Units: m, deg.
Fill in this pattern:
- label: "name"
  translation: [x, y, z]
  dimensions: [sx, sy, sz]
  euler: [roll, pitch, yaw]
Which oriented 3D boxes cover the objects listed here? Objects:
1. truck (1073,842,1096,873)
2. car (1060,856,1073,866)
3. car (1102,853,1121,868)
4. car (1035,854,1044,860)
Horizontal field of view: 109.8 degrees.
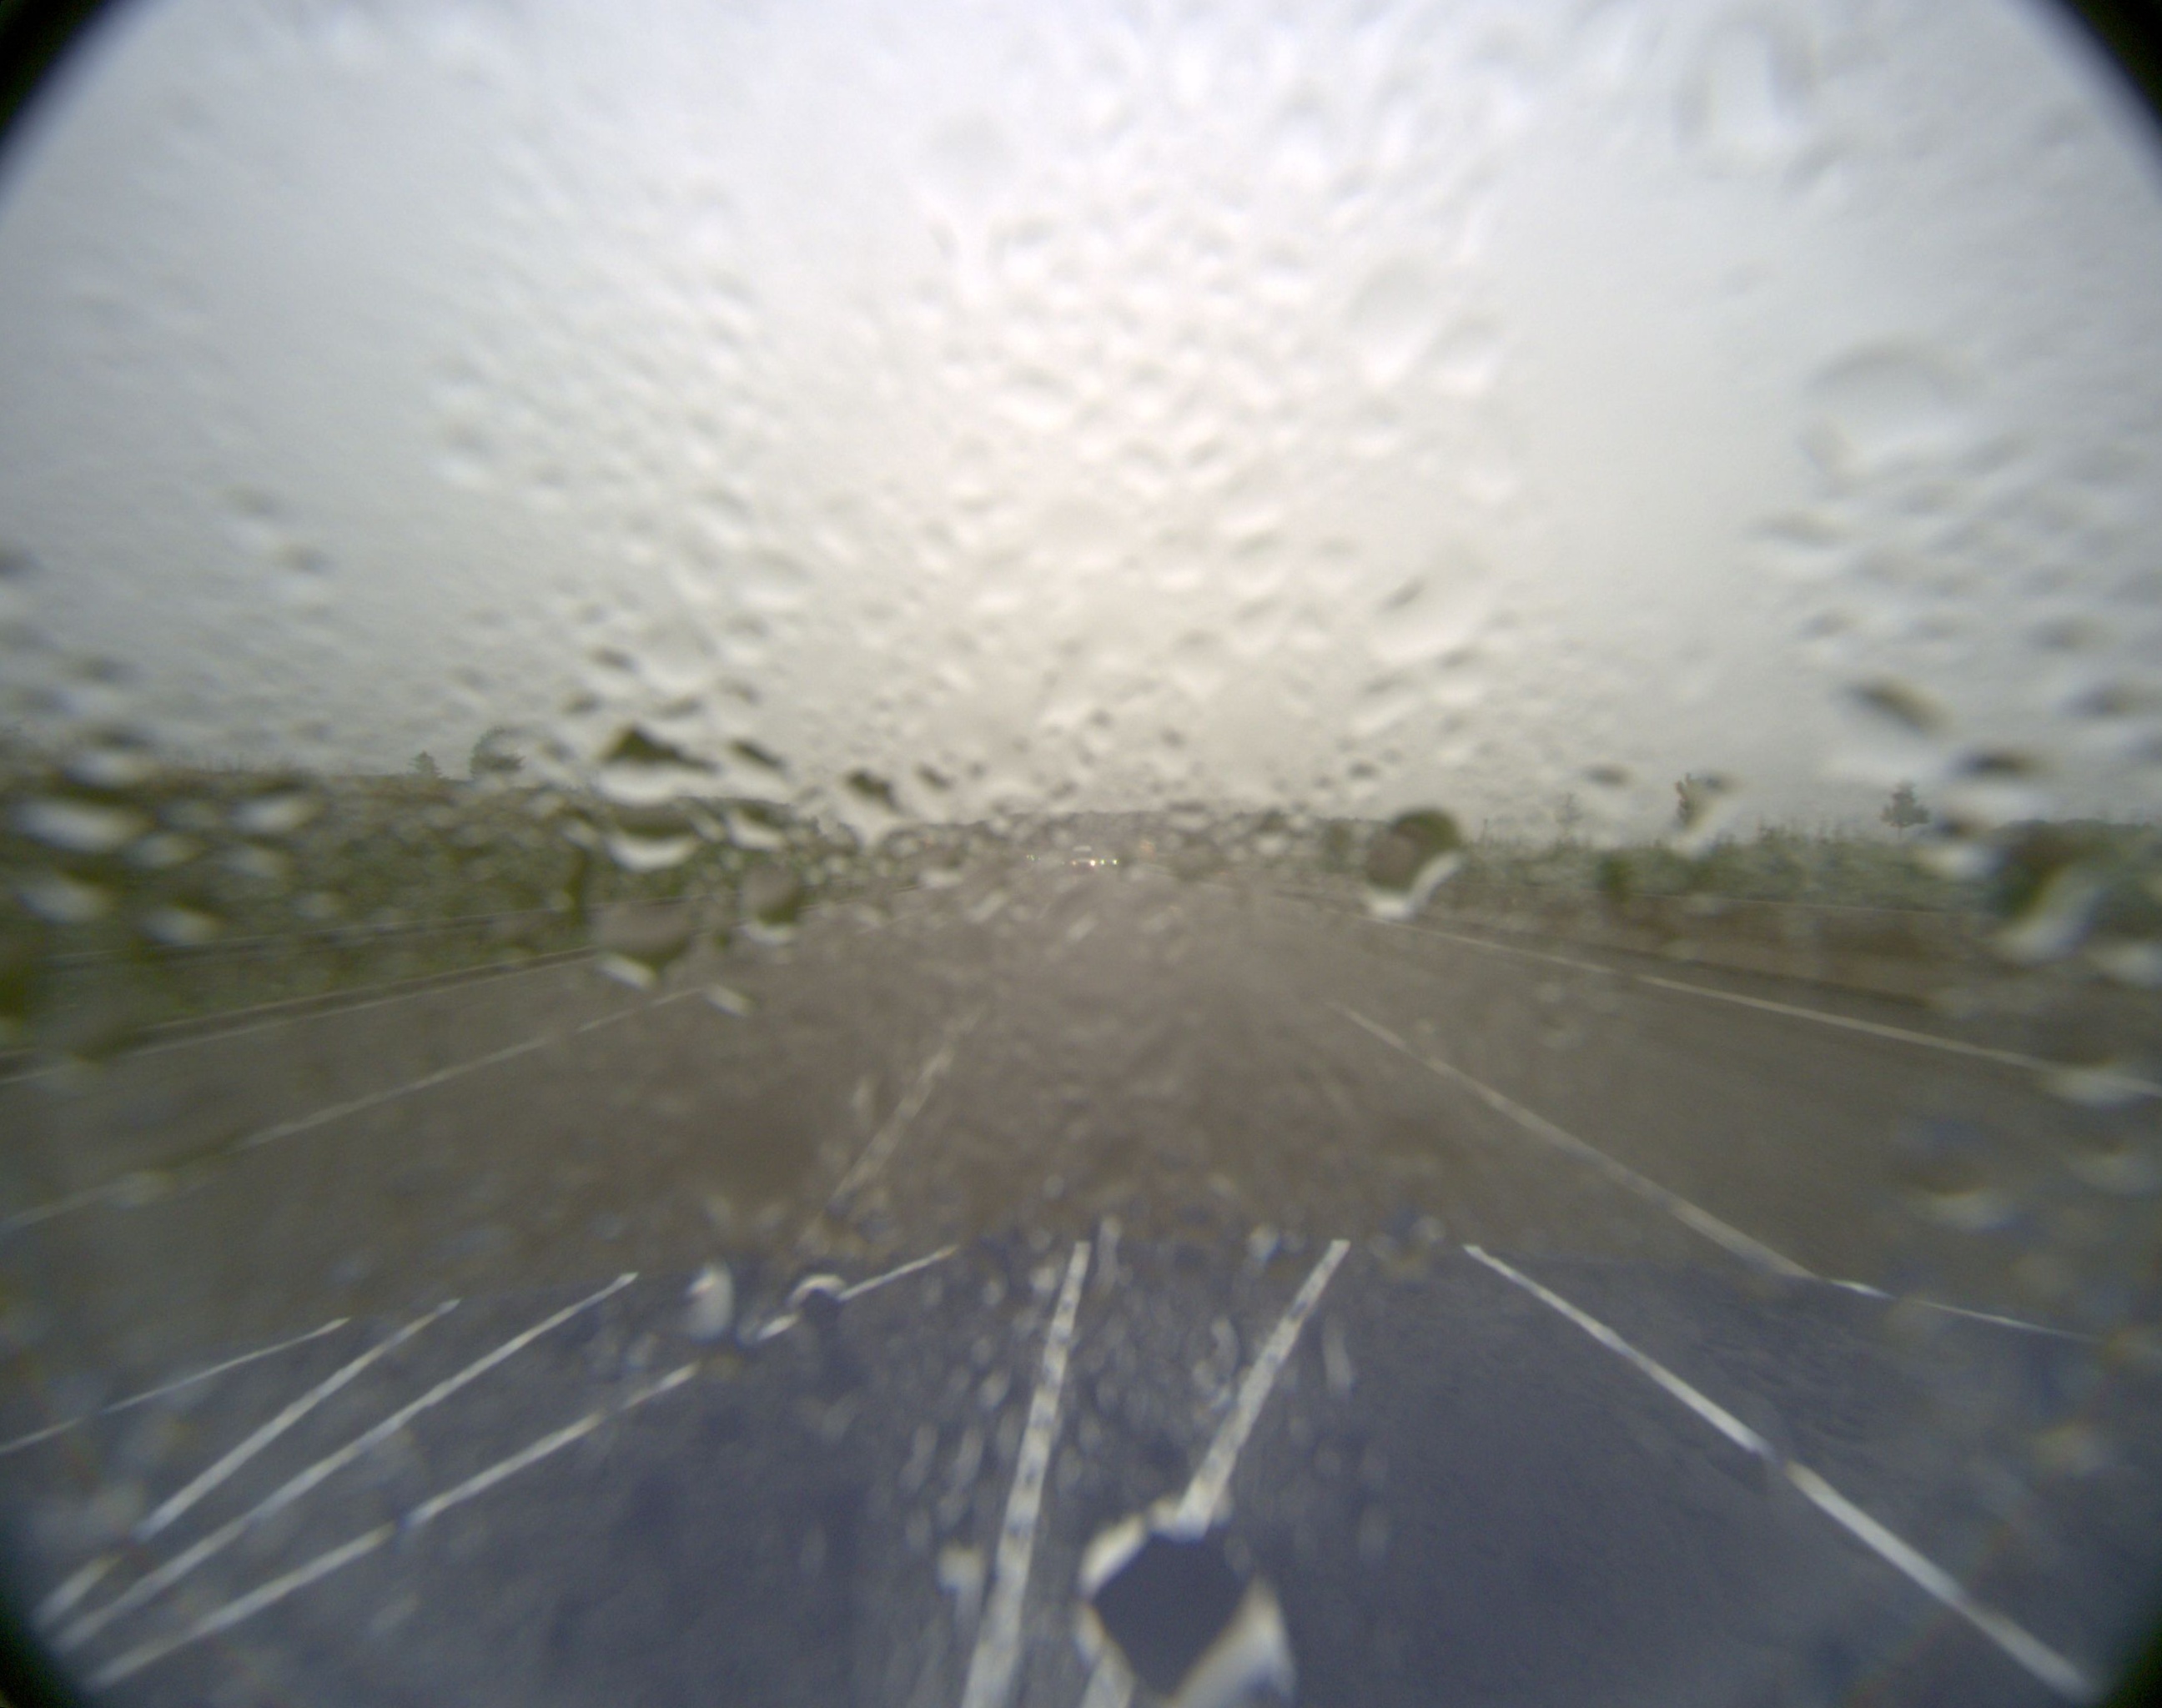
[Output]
- label: "truck"
  translation: [0.273, 0.270, 73.402]
  dimensions: [1.999, 2.699, 7.997]
  euler: [-2, 1, -1]
- label: "car"
  translation: [-2.353, 1.147, 124.377]
  dimensions: [1.999, 1.521, 3.999]
  euler: [-2, 0, -1]
- label: "car"
  translation: [3.660, 0.773, 91.115]
  dimensions: [1.999, 1.608, 3.999]
  euler: [-2, 0, -1]
- label: "car"
  translation: [-11.144, 0.746, 204.817]
  dimensions: [1.998, 1.543, 4.001]
  euler: [-2, 0, 4]
